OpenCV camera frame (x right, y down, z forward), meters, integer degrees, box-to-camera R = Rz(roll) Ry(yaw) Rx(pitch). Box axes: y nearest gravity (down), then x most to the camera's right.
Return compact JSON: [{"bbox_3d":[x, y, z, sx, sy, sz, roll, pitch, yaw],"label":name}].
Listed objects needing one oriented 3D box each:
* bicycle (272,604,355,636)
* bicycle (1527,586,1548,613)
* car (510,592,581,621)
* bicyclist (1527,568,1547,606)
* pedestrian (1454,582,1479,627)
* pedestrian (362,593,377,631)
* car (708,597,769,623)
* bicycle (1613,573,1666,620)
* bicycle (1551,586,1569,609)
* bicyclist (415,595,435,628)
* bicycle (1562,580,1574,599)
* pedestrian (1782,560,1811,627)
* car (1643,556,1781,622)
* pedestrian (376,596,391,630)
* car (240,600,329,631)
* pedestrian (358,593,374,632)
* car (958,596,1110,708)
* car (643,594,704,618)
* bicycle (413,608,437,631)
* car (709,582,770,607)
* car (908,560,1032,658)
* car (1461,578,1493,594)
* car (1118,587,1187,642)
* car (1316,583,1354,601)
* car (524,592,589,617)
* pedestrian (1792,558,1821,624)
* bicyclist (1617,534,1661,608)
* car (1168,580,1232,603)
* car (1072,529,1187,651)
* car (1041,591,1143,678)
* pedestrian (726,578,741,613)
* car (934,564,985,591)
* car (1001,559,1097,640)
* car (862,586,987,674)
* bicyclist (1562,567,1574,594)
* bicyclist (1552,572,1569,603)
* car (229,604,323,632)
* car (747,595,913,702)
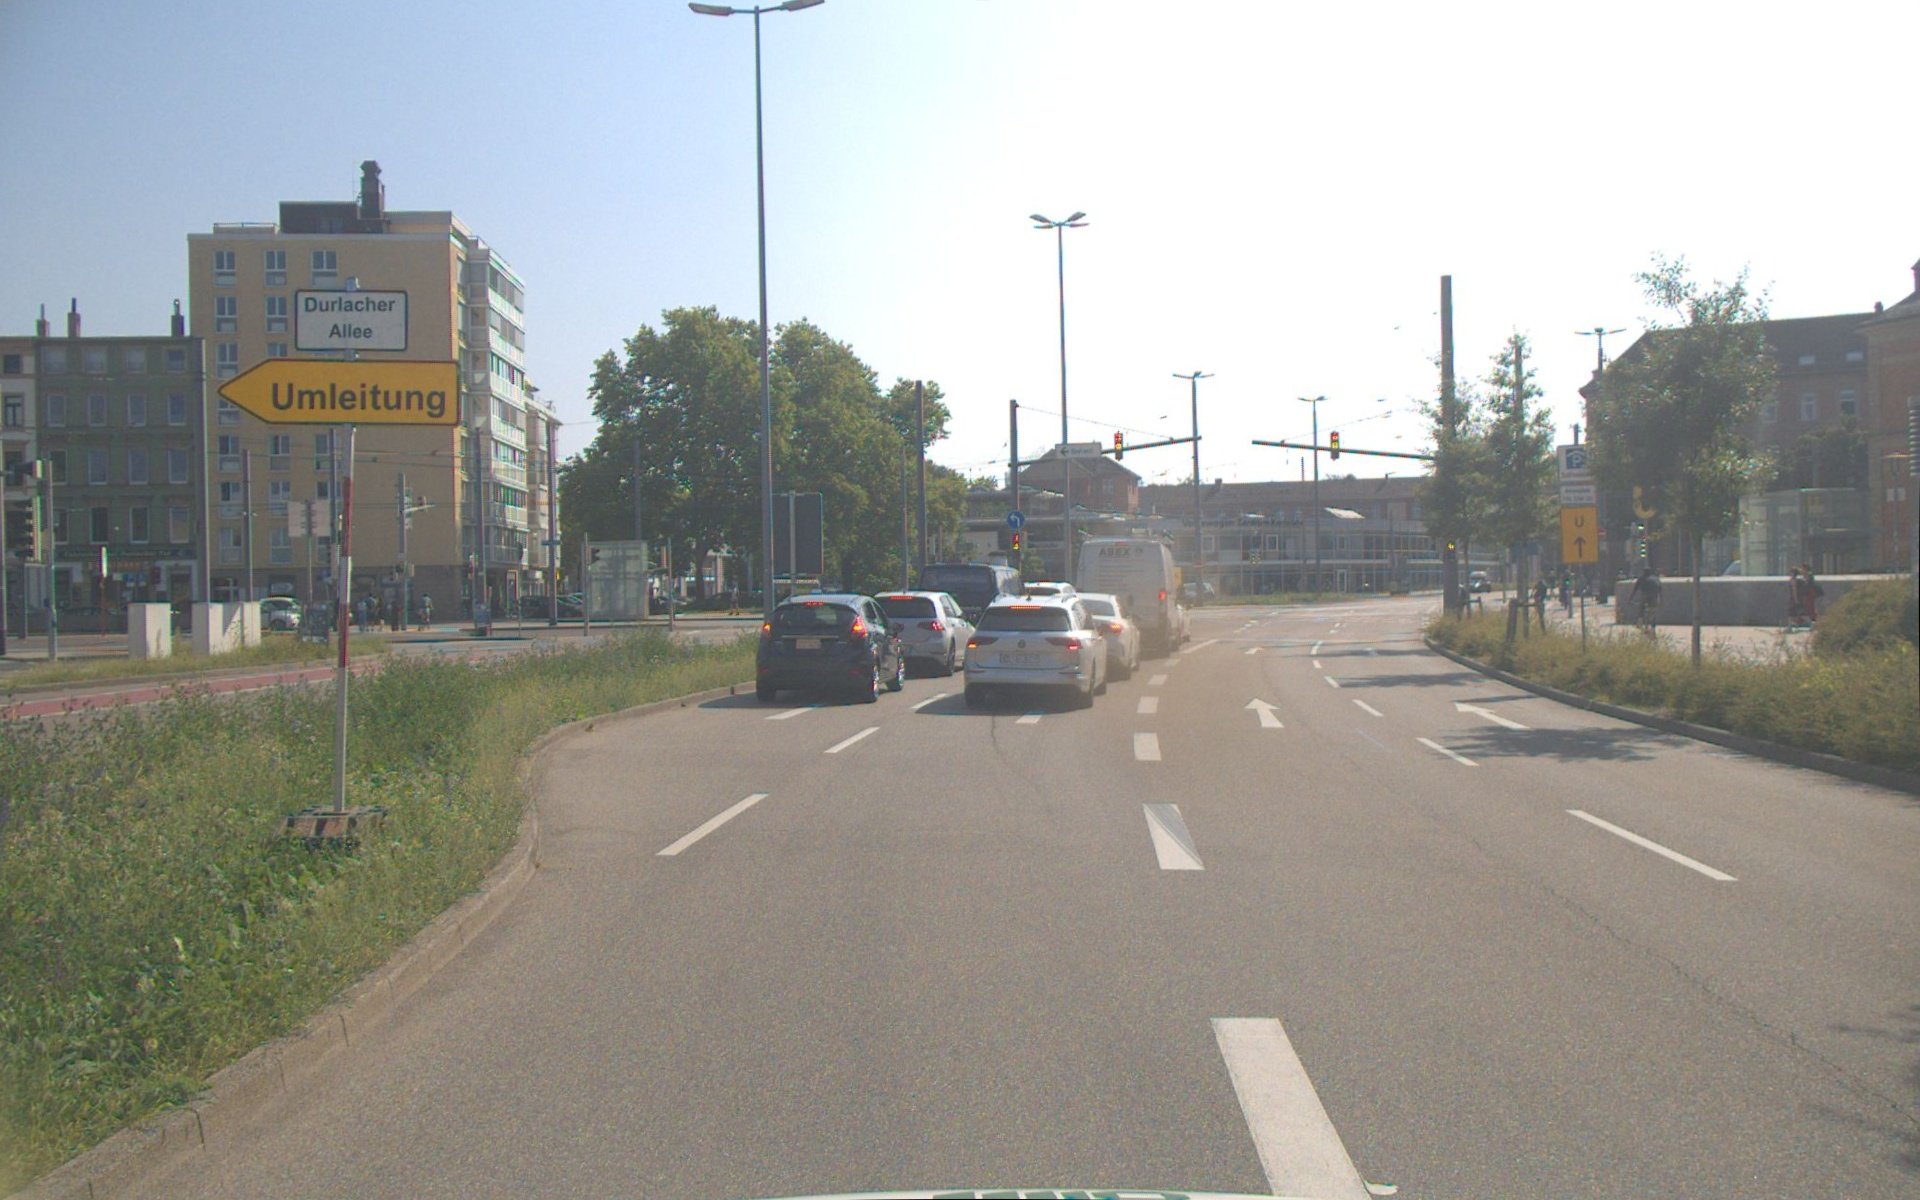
[{"bbox_3d":[-34.761,1.053,89.014,3.910,1.578,1.195,-1,3,-6],"label":"bicycle"},{"bbox_3d":[24.108,-0.019,69.004,0.691,1.080,1.982,-1,0,22],"label":"bicycle"},{"bbox_3d":[-25.795,0.397,103.033,3.907,1.584,1.868,-1,3,-3],"label":"car"},{"bbox_3d":[24.074,-0.527,68.980,0.698,1.556,0.806,-1,0,23],"label":"bicyclist"},{"bbox_3d":[15.831,0.123,51.698,0.622,1.385,0.634,-1,0,6],"label":"pedestrian"},{"bbox_3d":[-27.023,0.538,75.664,0.452,1.714,0.434,-3,3,-42],"label":"pedestrian"},{"bbox_3d":[-15.030,0.699,112.350,3.905,1.646,1.813,-1,0,0],"label":"car"},{"bbox_3d":[15.083,-0.082,36.746,0.755,0.993,2.152,-1,0,14],"label":"bicycle"},{"bbox_3d":[28.034,-0.123,77.216,0.691,1.080,1.982,-1,0,22],"label":"bicycle"},{"bbox_3d":[-24.406,0.512,75.477,0.712,1.459,0.689,-1,0,-8],"label":"bicyclist"},{"bbox_3d":[41.700,-0.733,113.449,0.724,1.239,2.246,-1,0,21],"label":"bicycle"},{"bbox_3d":[21.120,-0.156,41.757,0.603,1.667,0.533,-1,0,30],"label":"pedestrian"},{"bbox_3d":[25.229,-0.402,55.531,3.914,2.048,1.750,-1,3,-10],"label":"car"},{"bbox_3d":[-26.531,0.586,76.142,0.495,1.513,0.433,-3,3,-42],"label":"pedestrian"},{"bbox_3d":[-33.041,0.730,80.967,3.663,1.417,1.586,-1,0,-4],"label":"car"},{"bbox_3d":[-26.824,0.565,74.675,0.445,1.714,0.548,0,3,8],"label":"pedestrian"},{"bbox_3d":[1.097,0.664,22.731,1.649,1.412,3.637,0,0,9],"label":"car"},{"bbox_3d":[-19.432,0.407,112.183,3.909,1.585,1.726,-1,0,-5],"label":"car"},{"bbox_3d":[-24.389,0.866,75.420,0.714,1.001,1.729,-1,0,-8],"label":"bicycle"},{"bbox_3d":[-15.234,-0.394,114.437,3.905,1.646,1.813,-1,0,0],"label":"car"},{"bbox_3d":[0.307,0.175,36.987,1.980,2.043,4.688,-1,0,10],"label":"car"},{"bbox_3d":[49.715,-1.333,159.008,1.958,1.467,3.989,-1,1,33],"label":"car"},{"bbox_3d":[5.294,0.379,45.118,1.602,1.428,3.690,-1,0,11],"label":"car"},{"bbox_3d":[32.498,-0.700,143.184,1.958,1.467,3.989,-1,1,33],"label":"car"},{"bbox_3d":[-26.794,0.284,109.930,3.909,1.585,1.867,-1,0,-5],"label":"car"},{"bbox_3d":[21.695,-0.231,42.400,0.602,1.657,0.534,-1,0,22],"label":"pedestrian"},{"bbox_3d":[15.073,-0.645,36.757,0.755,1.606,0.991,-1,0,15],"label":"bicyclist"},{"bbox_3d":[15.301,-0.529,105.538,3.882,1.366,1.931,-1,0,4],"label":"car"},{"bbox_3d":[3.934,-0.202,37.729,2.142,2.594,4.687,-1,0,12],"label":"car"},{"bbox_3d":[2.379,0.572,29.086,1.457,1.427,3.945,0,0,9],"label":"car"},{"bbox_3d":[-13.498,-0.265,98.635,0.805,2.049,0.509,-1,0,-2],"label":"pedestrian"},{"bbox_3d":[-0.007,-1.844,135.130,3.902,2.048,2.002,0,3,7],"label":"car"},{"bbox_3d":[2.454,-0.021,44.432,1.980,2.043,4.688,-1,0,10],"label":"car"},{"bbox_3d":[-0.573,0.500,29.729,1.457,1.439,3.651,-1,1,12],"label":"car"},{"bbox_3d":[41.688,-1.348,113.466,0.731,1.861,0.806,-1,0,22],"label":"bicyclist"},{"bbox_3d":[28.053,-0.602,77.282,0.691,1.418,0.829,-1,0,23],"label":"bicyclist"},{"bbox_3d":[-32.161,0.851,77.846,3.751,1.200,1.575,-1,-2,-1],"label":"car"},{"bbox_3d":[-1.768,0.637,23.723,1.665,1.392,3.966,0,0,6],"label":"car"}]
